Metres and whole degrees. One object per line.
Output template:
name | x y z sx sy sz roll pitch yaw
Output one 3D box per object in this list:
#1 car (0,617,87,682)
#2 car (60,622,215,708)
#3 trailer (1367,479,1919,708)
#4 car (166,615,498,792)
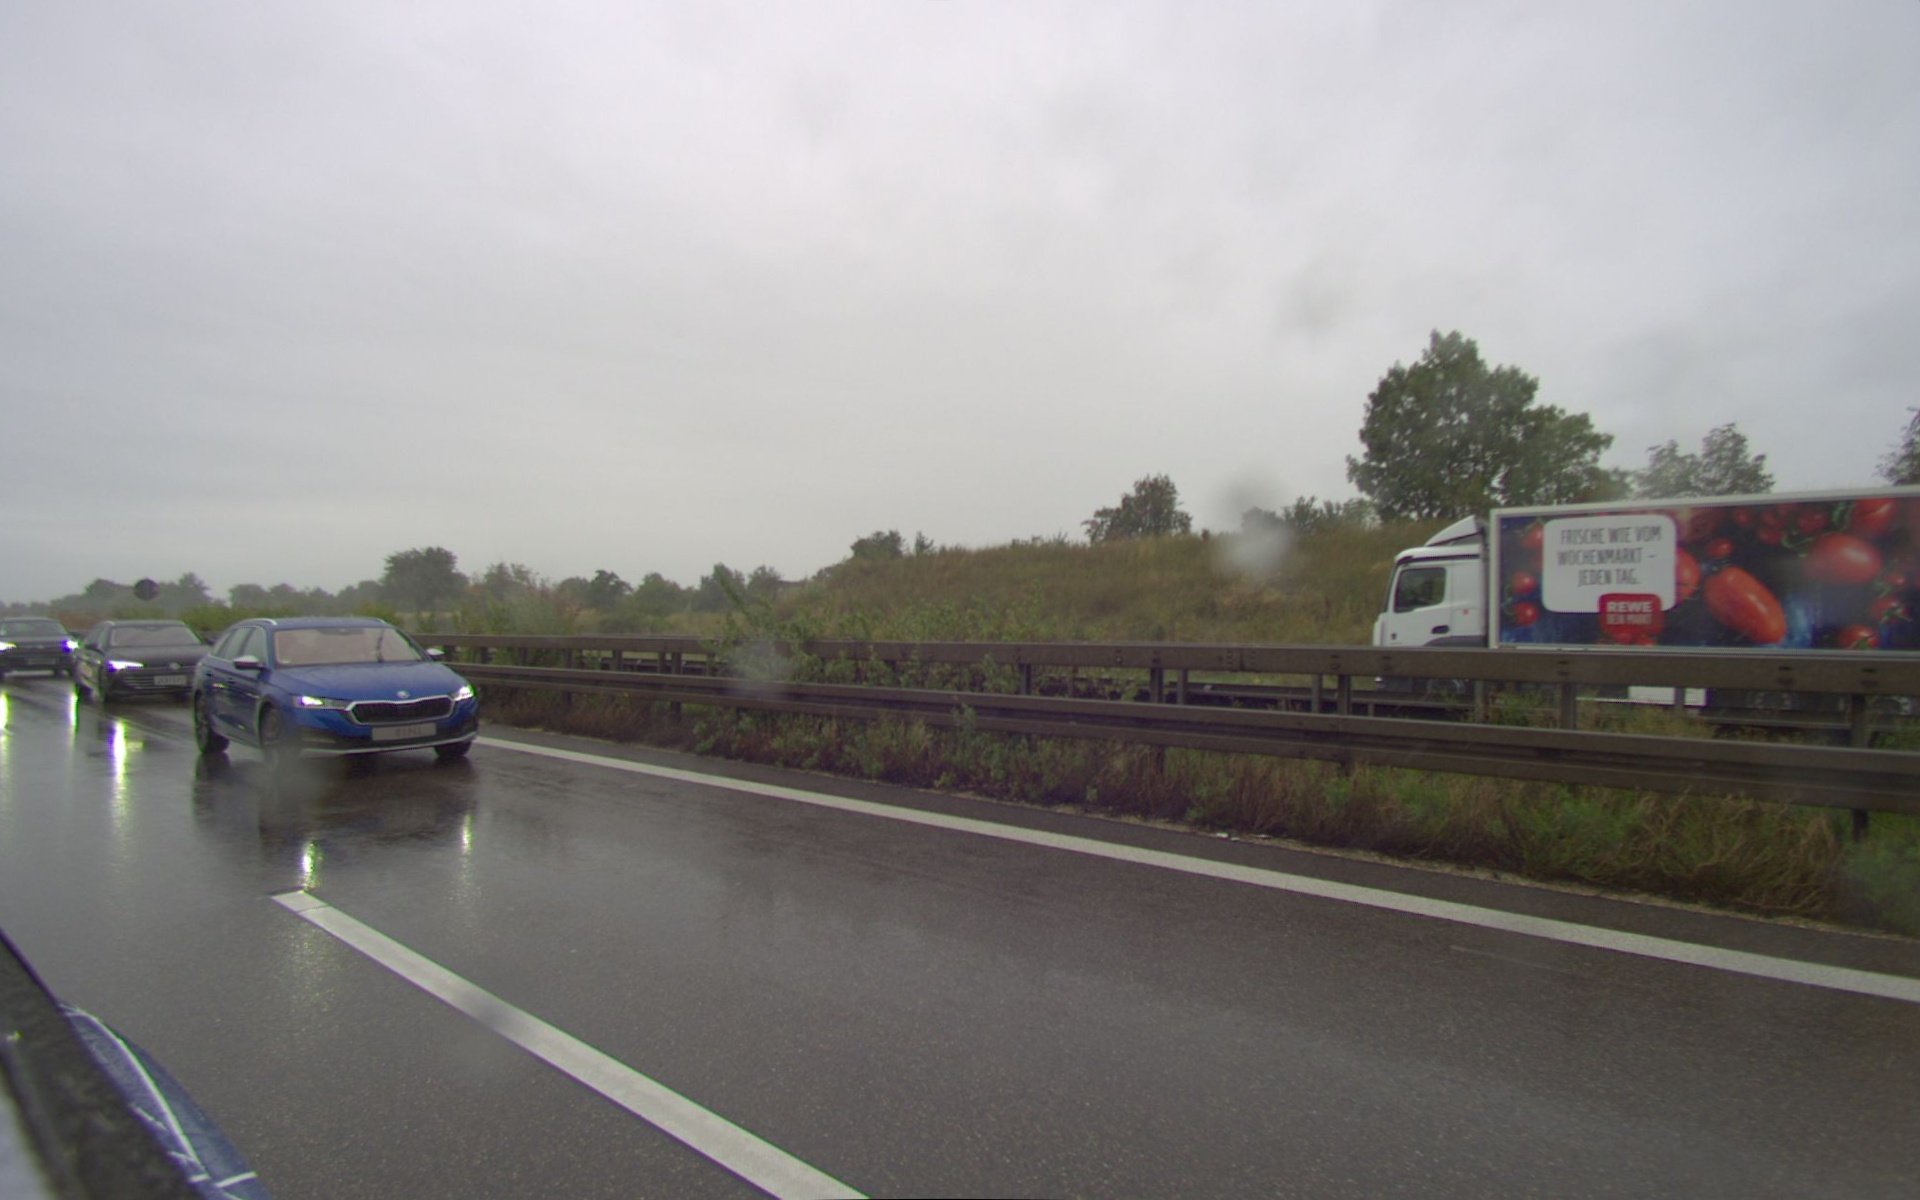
car | -25.881 1.333 28.136 4.266 1.644 1.864 -2 -1 41
car | -15.758 1.163 19.305 4.368 1.447 1.592 -2 -1 41
trailer | 11.719 -0.042 16.143 9.550 3.105 1.973 -1 -1 41
car | -6.819 0.938 10.775 4.509 1.487 1.767 -2 -1 41
